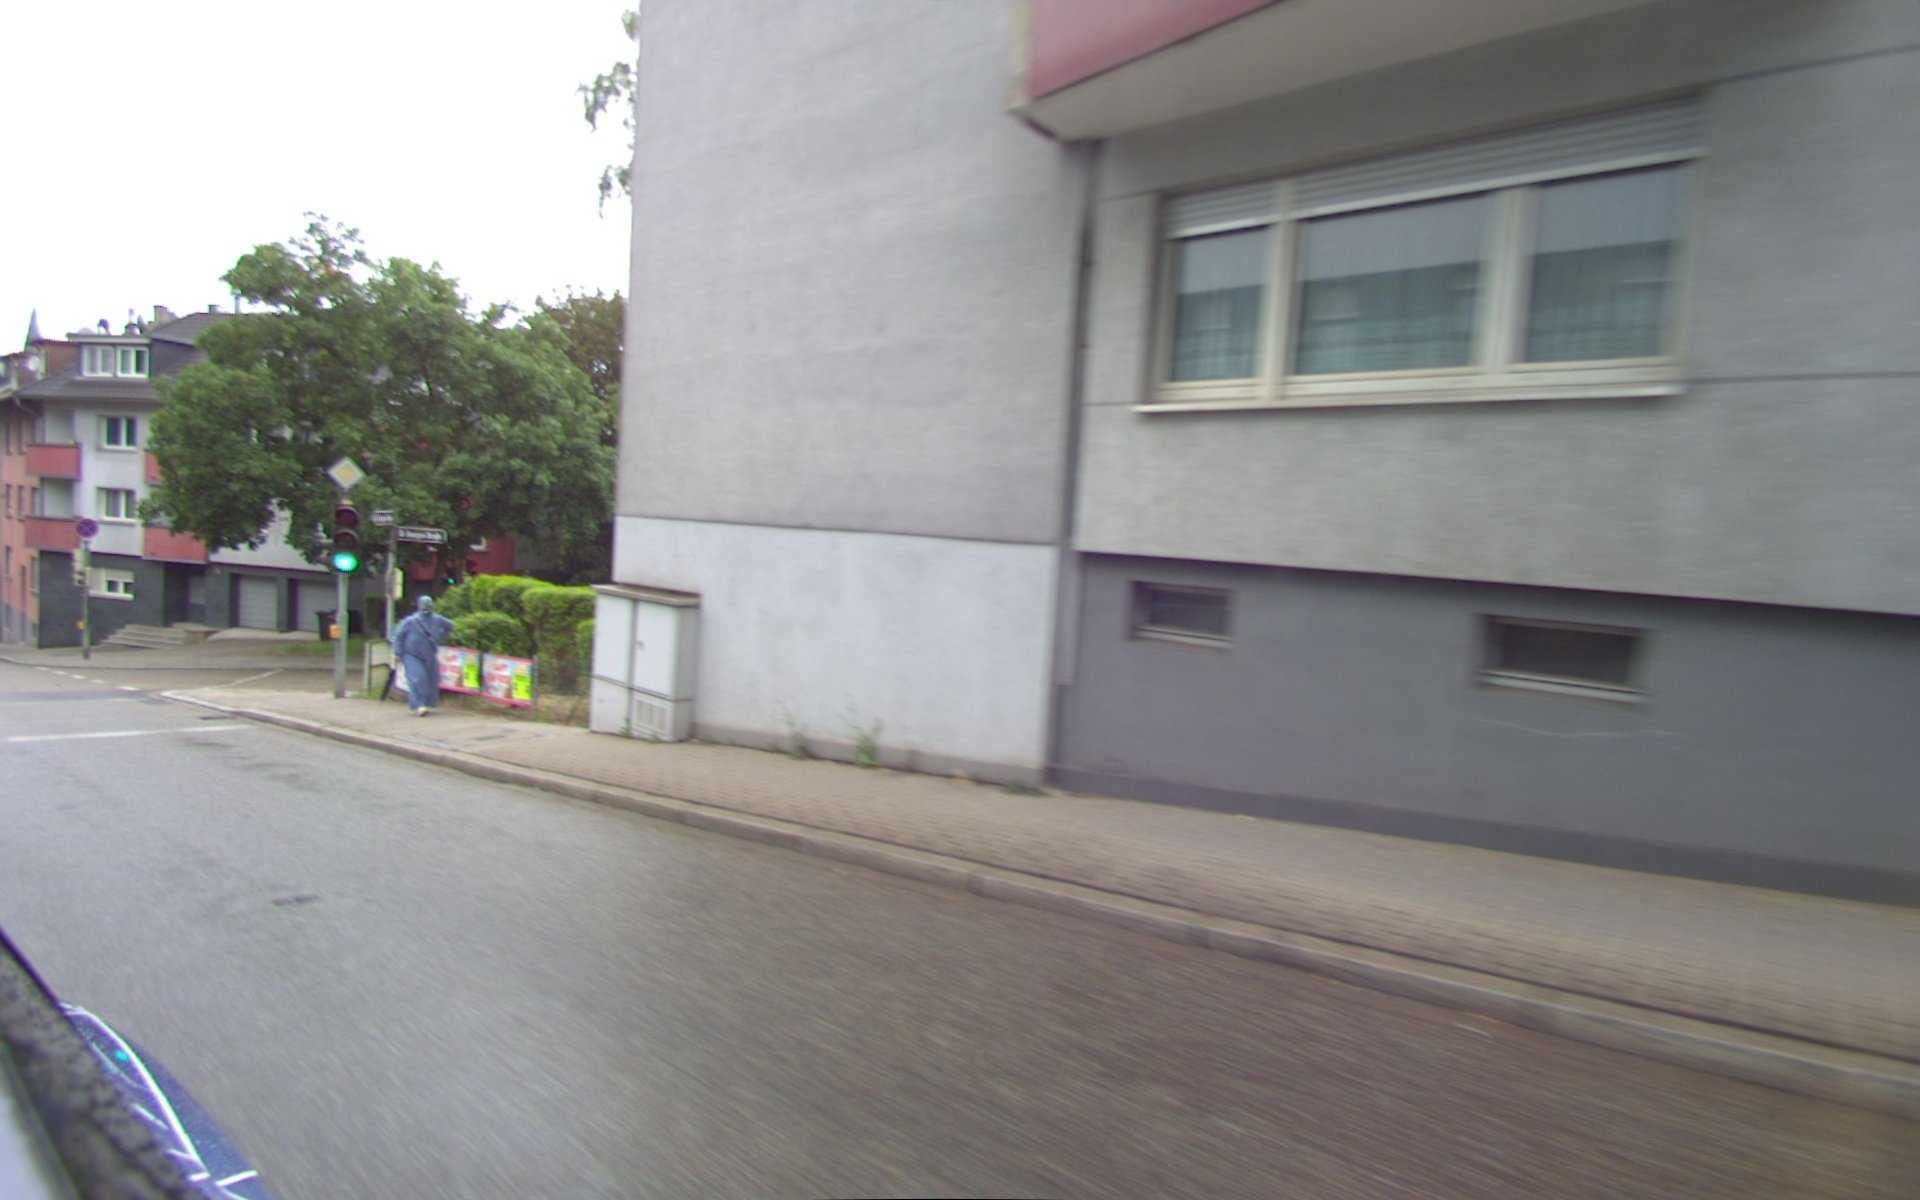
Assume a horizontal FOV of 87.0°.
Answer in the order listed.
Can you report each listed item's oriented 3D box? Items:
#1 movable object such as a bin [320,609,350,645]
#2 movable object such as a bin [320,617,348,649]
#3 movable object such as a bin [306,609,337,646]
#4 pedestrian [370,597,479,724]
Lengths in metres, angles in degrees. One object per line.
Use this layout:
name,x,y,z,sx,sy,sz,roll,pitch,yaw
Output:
movable object such as a bin,-21.537,0.920,34.888,0.682,1.208,0.559,1,2,15
movable object such as a bin,-21.077,1.105,34.067,0.496,1.023,0.627,1,2,15
movable object such as a bin,-21.662,0.941,34.317,0.682,1.208,0.559,1,2,15
pedestrian,-7.004,0.752,13.235,1.086,1.553,0.861,0,1,38
